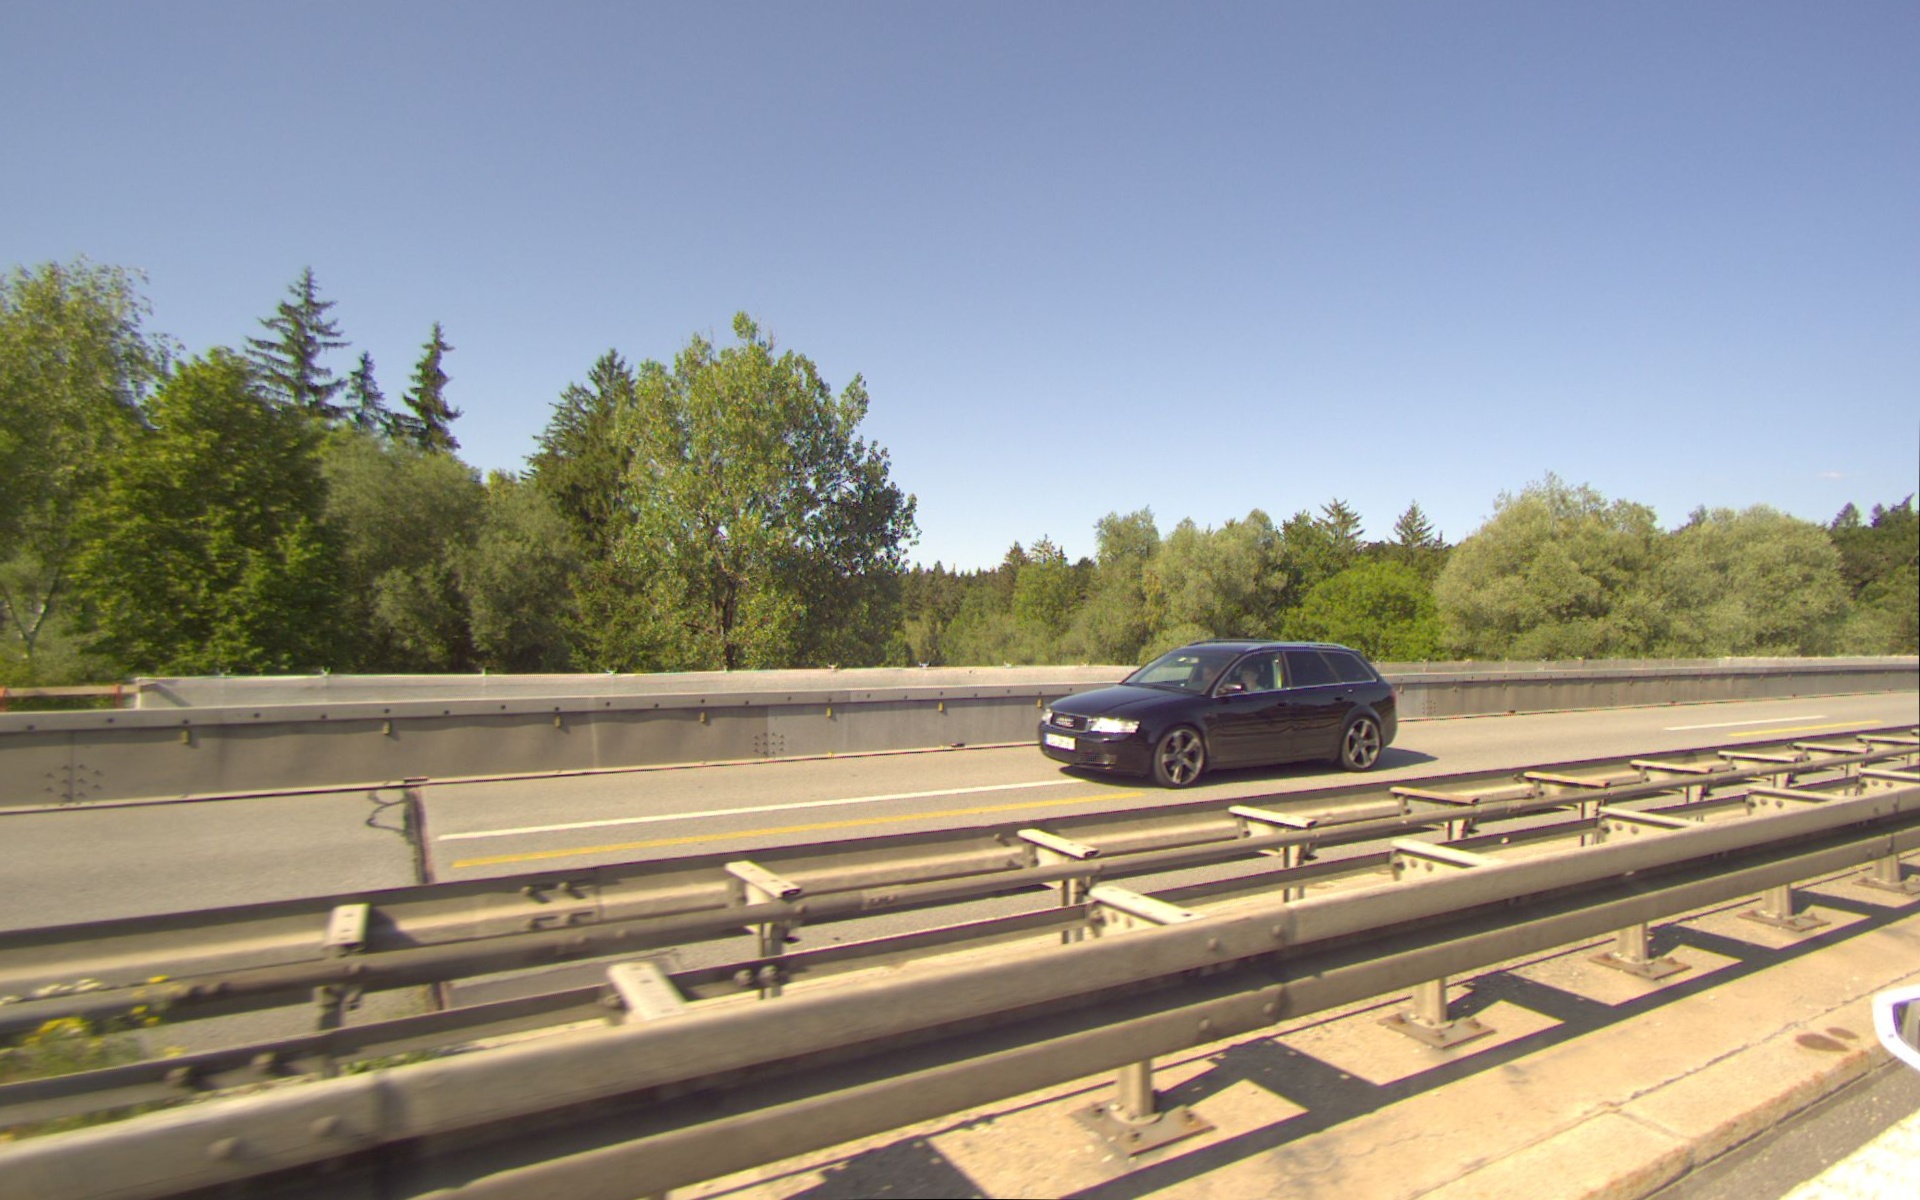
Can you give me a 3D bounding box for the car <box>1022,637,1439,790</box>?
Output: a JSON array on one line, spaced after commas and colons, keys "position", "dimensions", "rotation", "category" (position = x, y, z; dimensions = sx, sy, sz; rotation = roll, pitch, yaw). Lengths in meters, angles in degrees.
[{"position": [3.134, 1.133, 11.279], "dimensions": [4.750, 1.395, 1.638], "rotation": [1, -1, -30], "category": "car"}]
